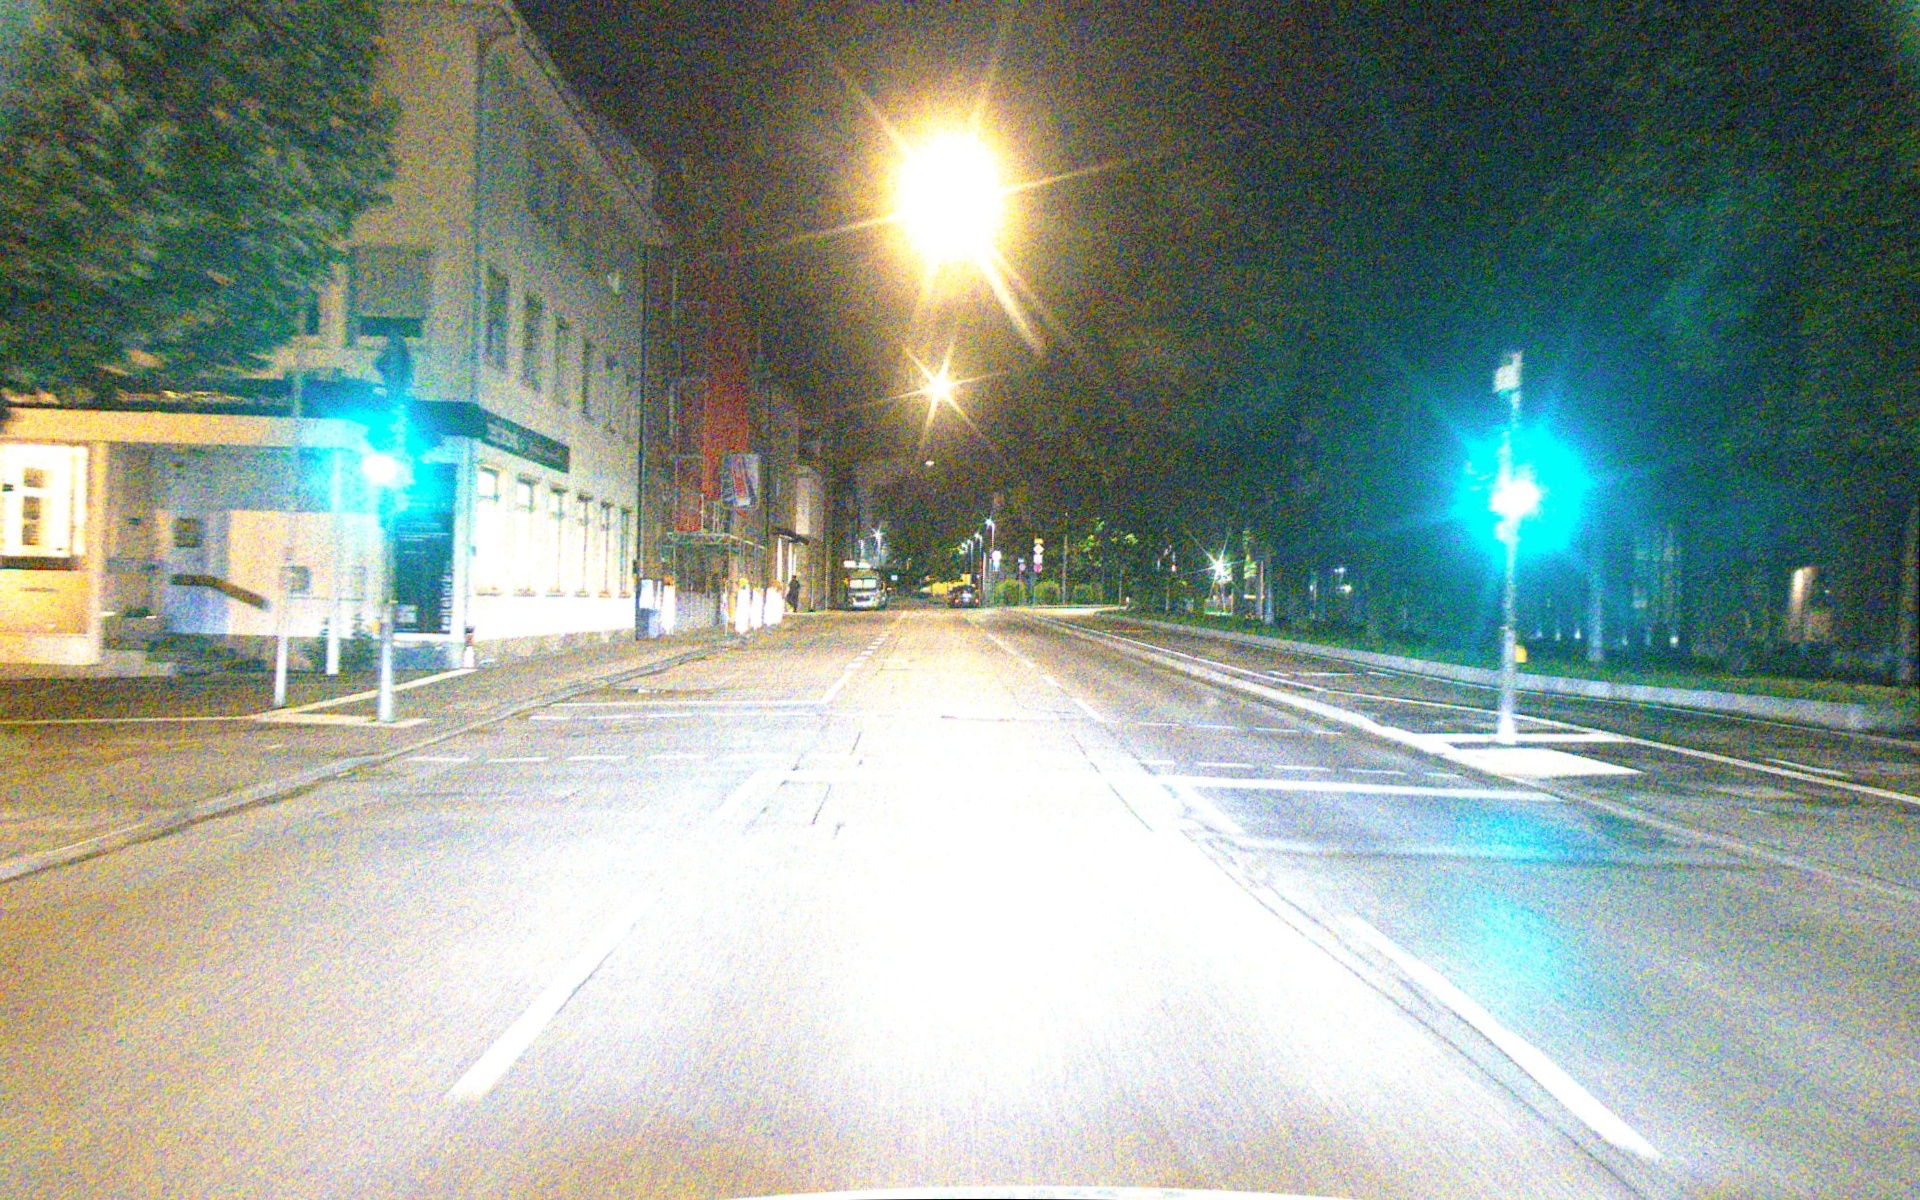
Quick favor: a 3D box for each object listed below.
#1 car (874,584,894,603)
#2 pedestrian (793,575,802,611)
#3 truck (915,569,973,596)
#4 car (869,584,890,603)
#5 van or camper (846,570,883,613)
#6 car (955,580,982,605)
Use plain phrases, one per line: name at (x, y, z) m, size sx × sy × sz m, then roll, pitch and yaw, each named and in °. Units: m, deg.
car at (-6.647, -0.540, 144.300) m, size 1.643 × 1.594 × 4.103 m, roll 0°, pitch 0°, yaw -1°
pedestrian at (-8.012, -0.337, 81.613) m, size 0.408 × 1.738 × 0.440 m, roll 0°, pitch -1°, yaw -15°
truck at (-1.902, -2.048, 193.240) m, size 6.643 × 2.894 × 1.998 m, roll 1°, pitch 0°, yaw -4°
car at (-6.721, -0.536, 138.445) m, size 1.670 × 1.536 × 4.098 m, roll 1°, pitch 0°, yaw -2°
van or camper at (-6.030, -0.543, 104.936) m, size 2.114 × 2.580 × 6.224 m, roll -2°, pitch 0°, yaw -2°
car at (0.630, -0.508, 115.627) m, size 1.845 × 1.631 × 4.107 m, roll -1°, pitch 0°, yaw 1°
